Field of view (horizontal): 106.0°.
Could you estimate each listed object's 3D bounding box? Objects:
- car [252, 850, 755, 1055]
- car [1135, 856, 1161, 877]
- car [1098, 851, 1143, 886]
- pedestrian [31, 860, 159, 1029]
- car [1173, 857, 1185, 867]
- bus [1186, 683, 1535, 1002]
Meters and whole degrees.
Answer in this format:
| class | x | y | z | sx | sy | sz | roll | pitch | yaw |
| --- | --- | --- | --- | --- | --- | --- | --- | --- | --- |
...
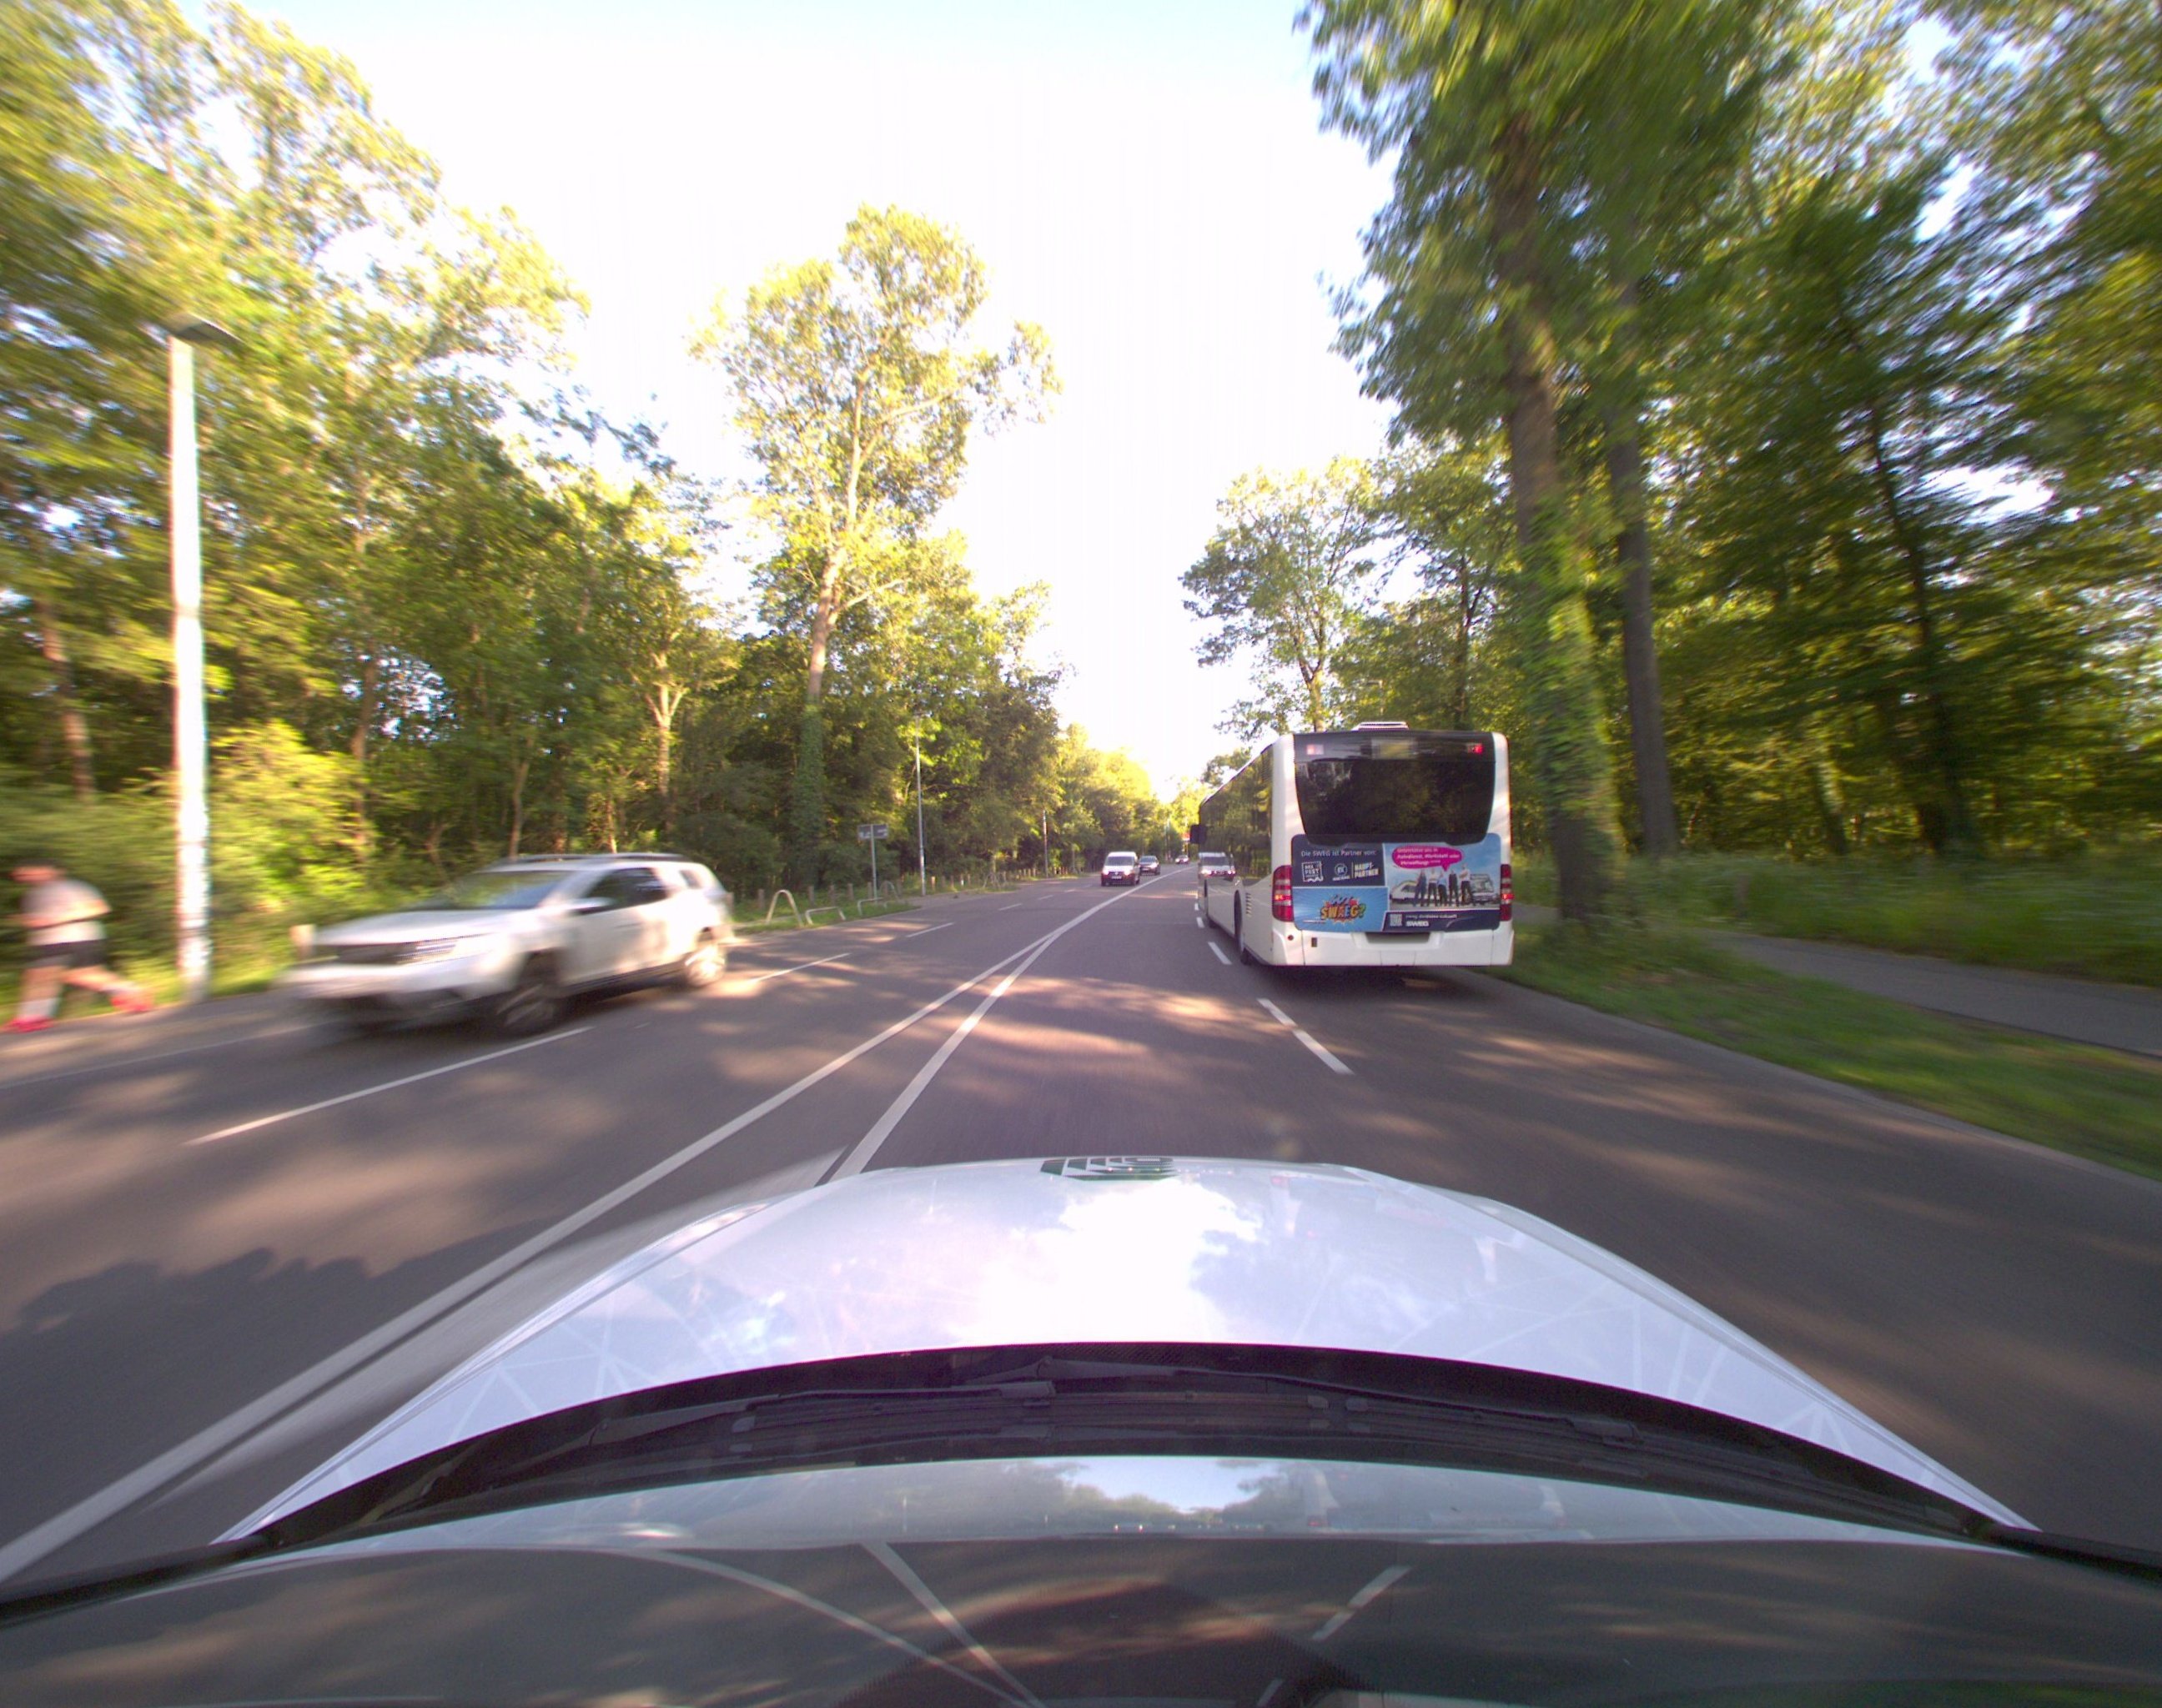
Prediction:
| class | x | y | z | sx | sy | sz | roll | pitch | yaw |
| --- | --- | --- | --- | --- | --- | --- | --- | --- | --- |
| car | -5.687 | 0.832 | 8.934 | 1.983 | 1.659 | 4.457 | -1 | 0 | 7 |
| car | 5.509 | 0.998 | 66.362 | 1.795 | 1.545 | 4.100 | -2 | -1 | 9 |
| car | 2.209 | 0.756 | 44.296 | 1.895 | 1.756 | 4.812 | -1 | 0 | 9 |
| pedestrian | -11.008 | 0.977 | 9.096 | 0.763 | 1.768 | 0.743 | -4 | -1 | 29 |
| car | 16.151 | 1.321 | 134.479 | 1.814 | 1.462 | 4.934 | -1 | 0 | 7 |
| bus | 3.602 | -0.044 | 14.397 | 2.692 | 3.222 | 12.290 | 0 | -1 | 4 |
